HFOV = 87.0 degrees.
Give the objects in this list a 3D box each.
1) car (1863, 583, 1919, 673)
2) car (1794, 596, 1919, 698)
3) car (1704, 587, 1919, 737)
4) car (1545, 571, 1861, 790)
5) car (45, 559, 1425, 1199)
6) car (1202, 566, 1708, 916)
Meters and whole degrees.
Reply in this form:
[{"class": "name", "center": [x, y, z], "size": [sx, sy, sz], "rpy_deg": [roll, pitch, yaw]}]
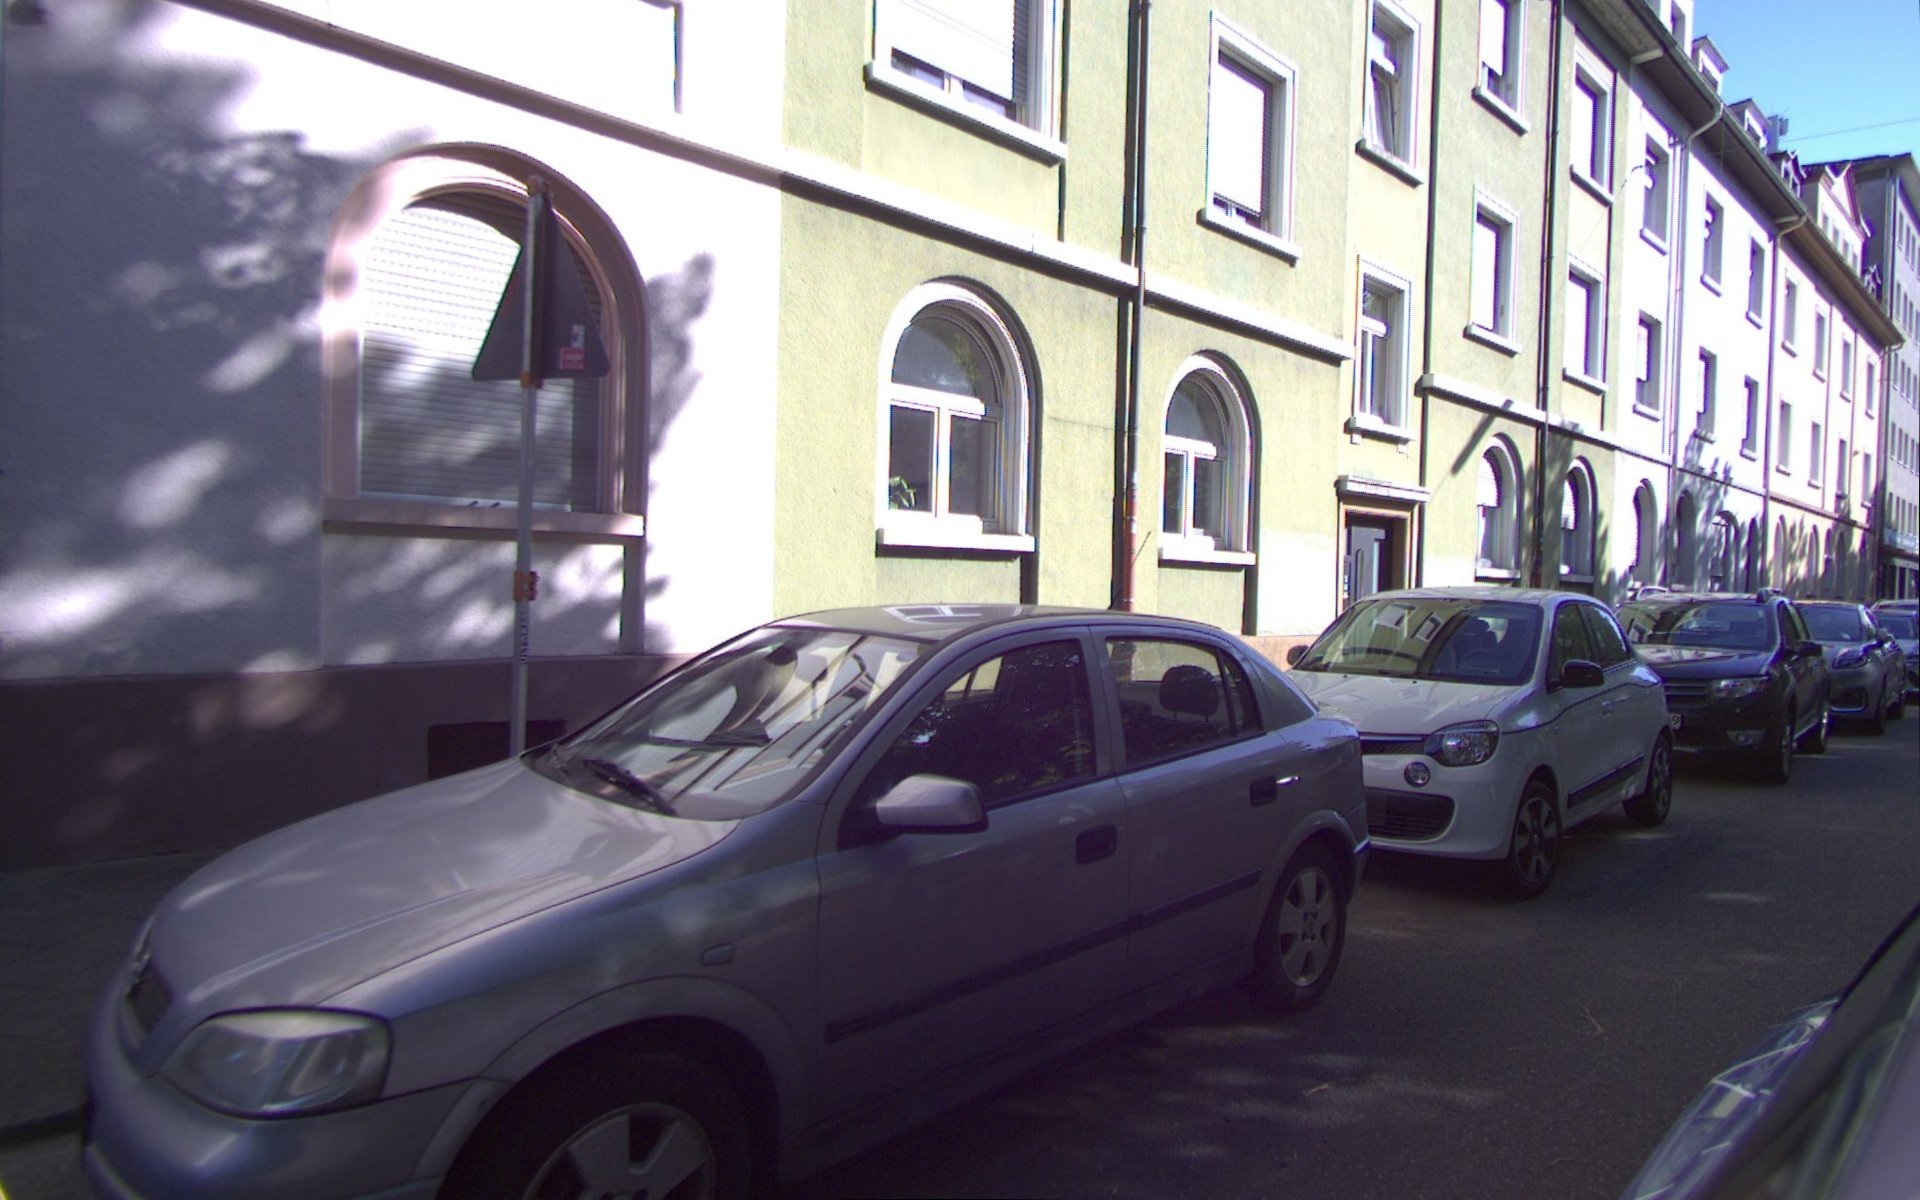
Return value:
[{"class": "car", "center": [19.956, 0.564, 20.774], "size": [4.088, 1.707, 1.725], "rpy_deg": [0, 2, -43]}, {"class": "car", "center": [15.194, 0.701, 16.543], "size": [4.085, 1.450, 1.726], "rpy_deg": [1, 2, -41]}, {"class": "car", "center": [10.966, 0.667, 12.803], "size": [4.087, 1.547, 1.725], "rpy_deg": [0, 2, -43]}, {"class": "car", "center": [7.186, 0.593, 9.623], "size": [4.089, 1.616, 1.724], "rpy_deg": [0, 2, -44]}, {"class": "car", "center": [-0.214, 0.656, 3.250], "size": [4.018, 1.430, 1.633], "rpy_deg": [0, 2, -42]}, {"class": "car", "center": [3.250, 0.624, 6.350], "size": [3.531, 1.553, 1.633], "rpy_deg": [0, 2, -42]}]
